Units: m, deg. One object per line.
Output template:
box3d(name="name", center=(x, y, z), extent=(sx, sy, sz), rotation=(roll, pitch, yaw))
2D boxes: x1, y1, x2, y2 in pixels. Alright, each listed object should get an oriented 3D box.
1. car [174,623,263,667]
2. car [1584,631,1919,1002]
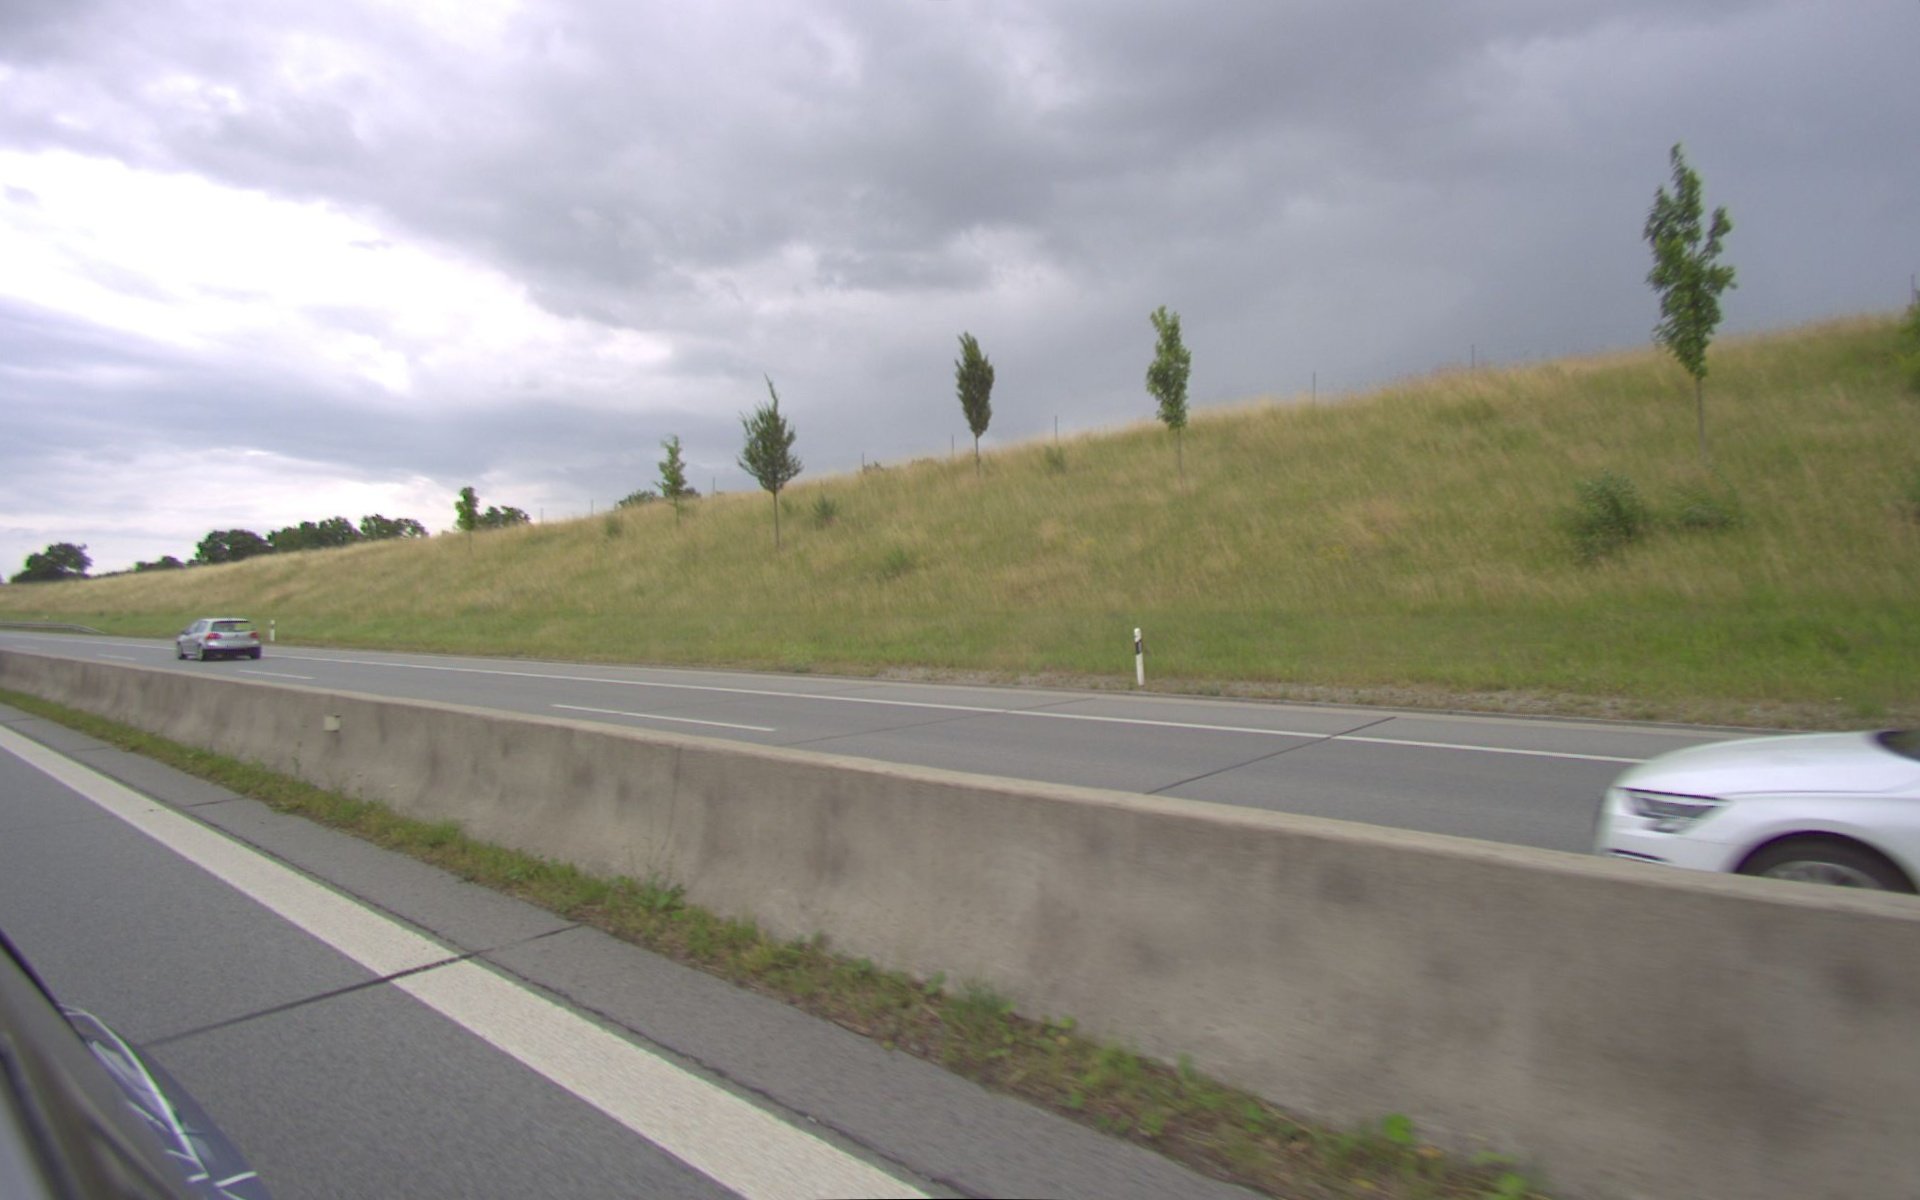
box3d(name="car", center=(-25.917, 1.531, 35.335), extent=(3.642, 1.451, 1.682), rotation=(-1, -2, 40))
box3d(name="car", center=(5.320, 0.842, 3.751), extent=(4.906, 1.421, 1.765), rotation=(-1, -2, 41))
